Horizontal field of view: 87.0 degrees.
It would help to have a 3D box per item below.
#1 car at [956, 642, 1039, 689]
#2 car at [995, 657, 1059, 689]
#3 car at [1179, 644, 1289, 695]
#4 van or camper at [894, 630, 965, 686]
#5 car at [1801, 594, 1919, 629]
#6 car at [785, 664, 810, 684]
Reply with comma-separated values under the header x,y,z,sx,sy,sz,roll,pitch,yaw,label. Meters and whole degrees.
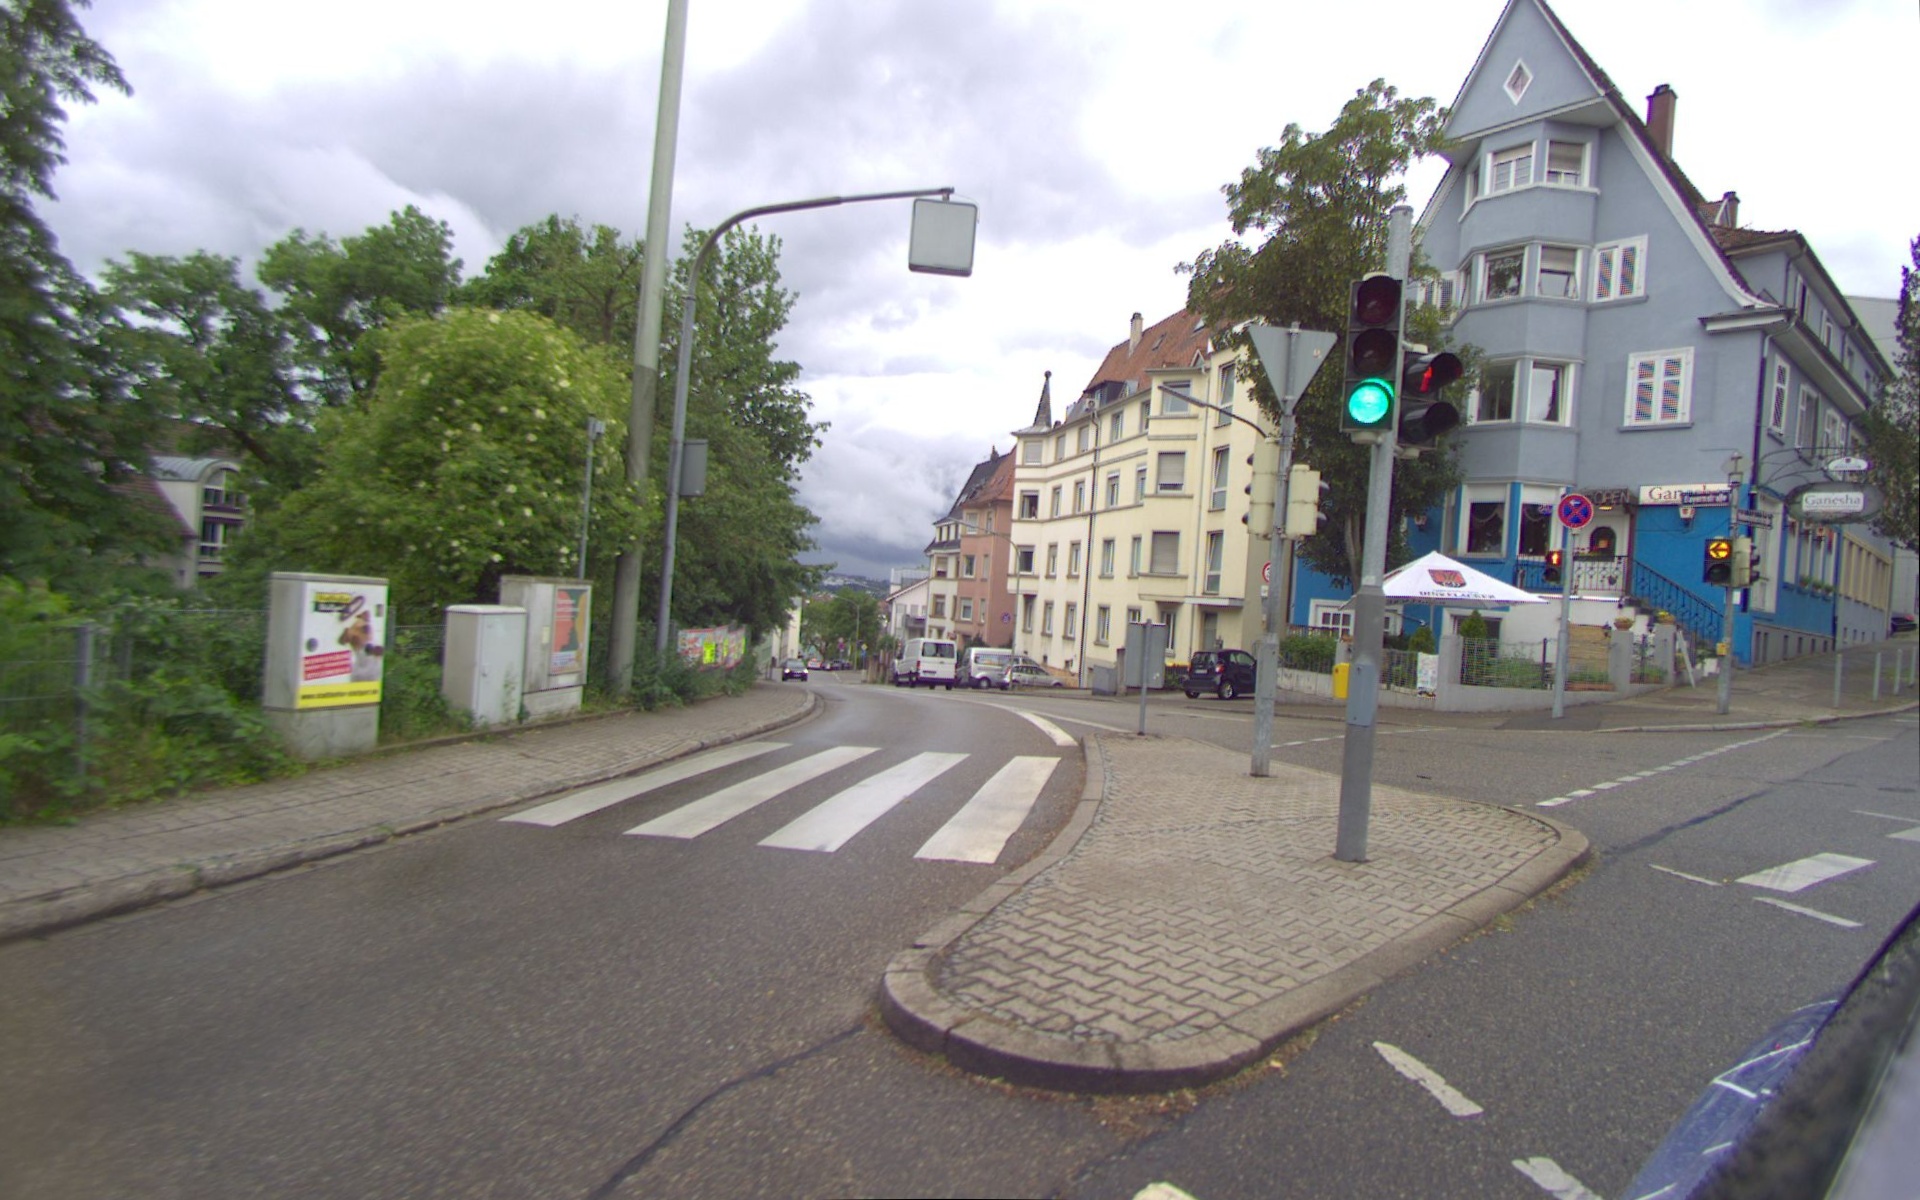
x,y,z,sx,sy,sz,roll,pitch,yaw,label
2.053,3.605,55.469,4.088,2.264,1.943,4,-8,-12,car
3.471,3.815,52.823,2.990,1.423,1.308,5,-5,-18,car
8.648,2.161,31.896,3.080,1.518,1.640,1,-4,-31,car
-1.510,2.738,47.643,2.066,2.357,5.425,4,-4,-15,van or camper
39.673,0.459,44.205,4.339,1.425,1.787,1,1,35,car
-12.836,5.811,79.719,1.760,1.325,3.973,4,-3,-11,car
